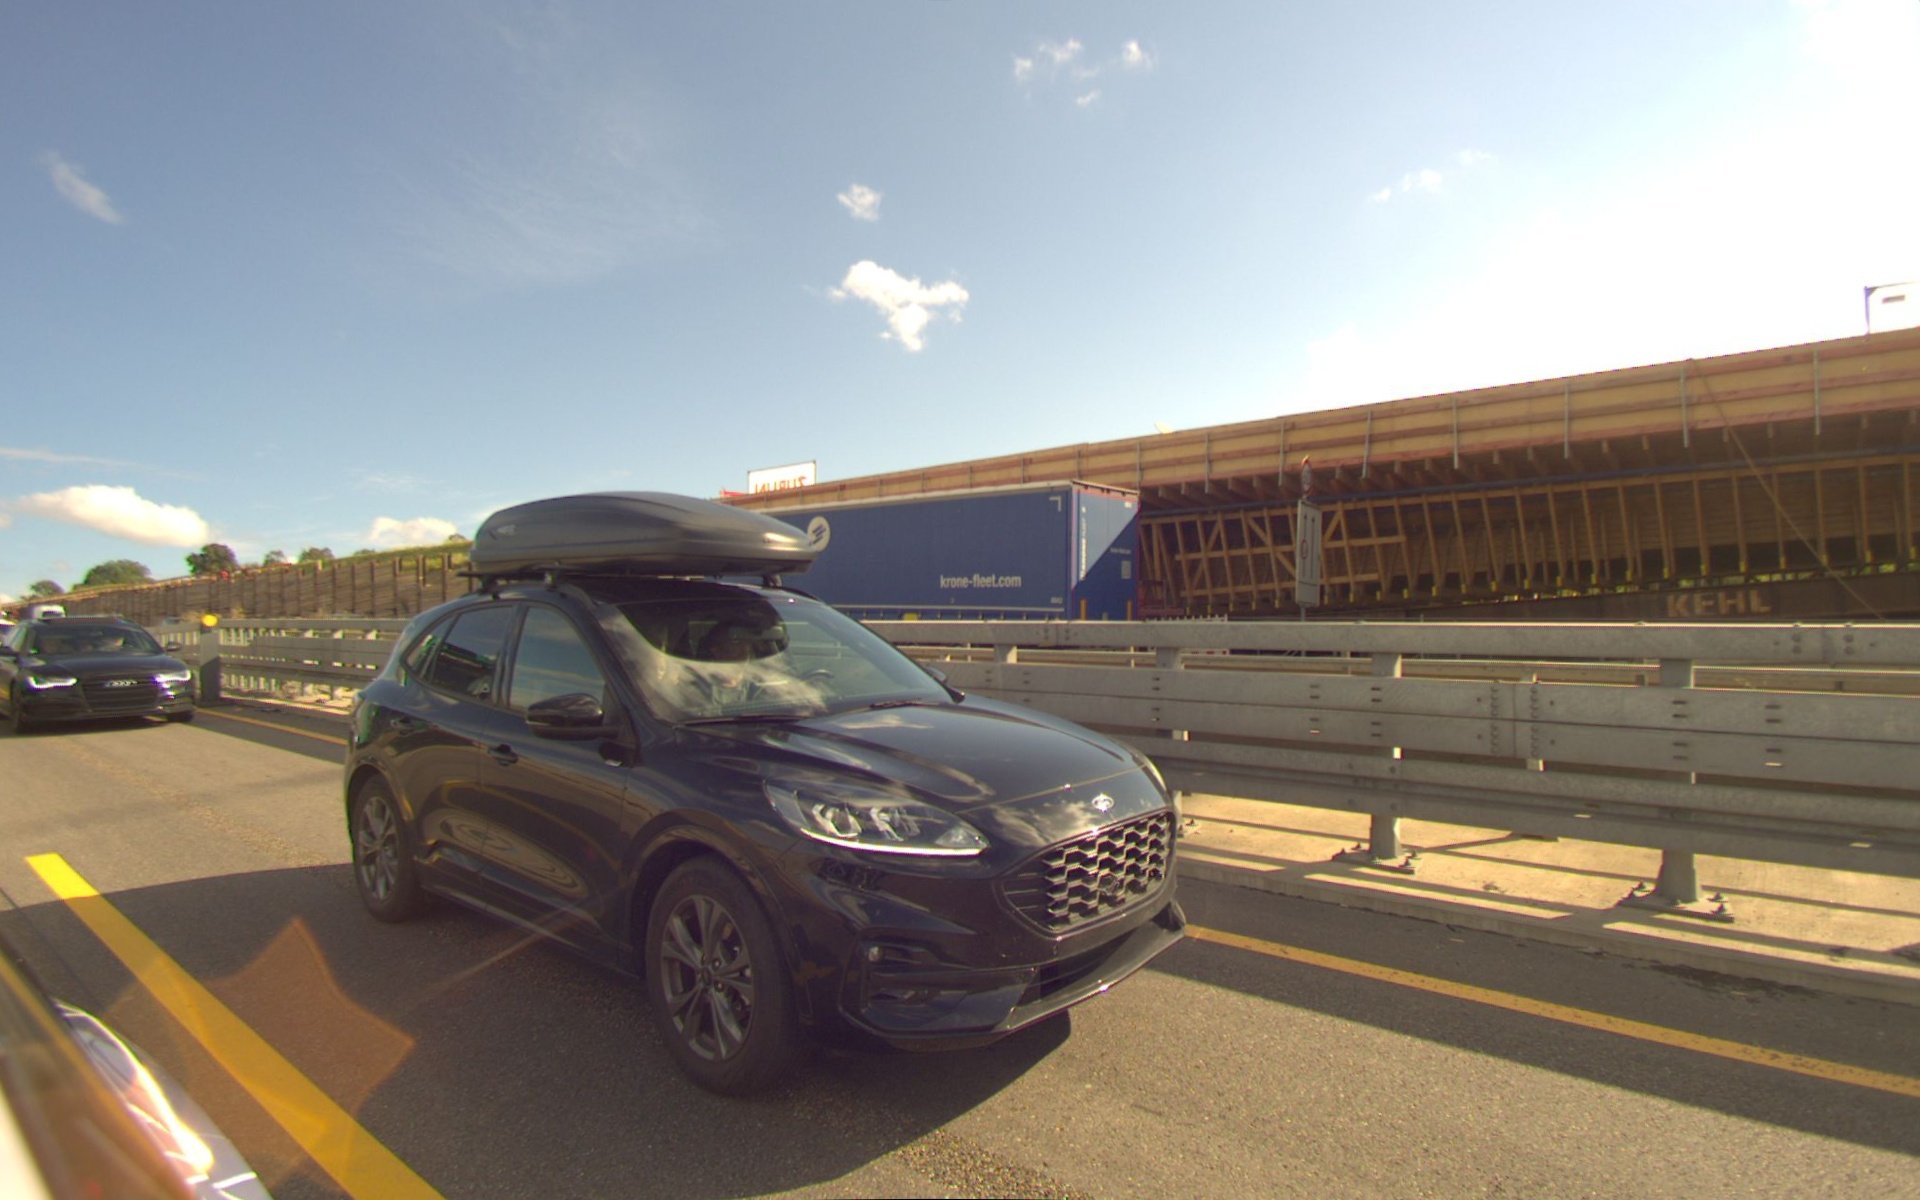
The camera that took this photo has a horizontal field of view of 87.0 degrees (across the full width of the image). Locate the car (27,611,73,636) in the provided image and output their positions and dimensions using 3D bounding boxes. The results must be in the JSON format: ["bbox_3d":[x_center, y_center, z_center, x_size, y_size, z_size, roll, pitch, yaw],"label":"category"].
[{"bbox_3d":[-88.561,2.249,98.483,6.401,2.360,2.540,0,0,40],"label":"car"}]

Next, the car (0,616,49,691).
[{"bbox_3d":[-20.810,1.142,21.268,4.406,1.441,1.924,-2,0,41],"label":"car"}]

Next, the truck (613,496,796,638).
[{"bbox_3d":[-7.285,-0.844,28.694,4.807,3.656,2.813,0,0,41],"label":"truck"}]

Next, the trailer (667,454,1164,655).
[{"bbox_3d":[-1.862,-0.834,24.071,13.520,3.694,2.833,0,0,40],"label":"trailer"}]

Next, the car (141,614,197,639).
[{"bbox_3d":[-50.123,1.653,64.120,4.405,1.441,1.925,0,2,40],"label":"car"}]

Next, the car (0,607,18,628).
[{"bbox_3d":[-111.374,2.060,117.030,6.401,2.360,2.850,0,0,40],"label":"car"}]

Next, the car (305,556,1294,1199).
[{"bbox_3d":[-1.047,0.643,4.351,4.382,1.554,1.781,0,2,41],"label":"car"}]

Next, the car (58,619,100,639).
[{"bbox_3d":[-71.768,2.340,82.438,4.405,1.441,1.925,0,2,40],"label":"car"}]

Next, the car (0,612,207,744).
[{"bbox_3d":[-12.239,0.942,14.108,4.504,1.441,1.923,0,1,42],"label":"car"}]

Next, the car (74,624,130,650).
[{"bbox_3d":[-54.223,2.311,63.932,4.405,1.441,1.925,0,2,40],"label":"car"}]
